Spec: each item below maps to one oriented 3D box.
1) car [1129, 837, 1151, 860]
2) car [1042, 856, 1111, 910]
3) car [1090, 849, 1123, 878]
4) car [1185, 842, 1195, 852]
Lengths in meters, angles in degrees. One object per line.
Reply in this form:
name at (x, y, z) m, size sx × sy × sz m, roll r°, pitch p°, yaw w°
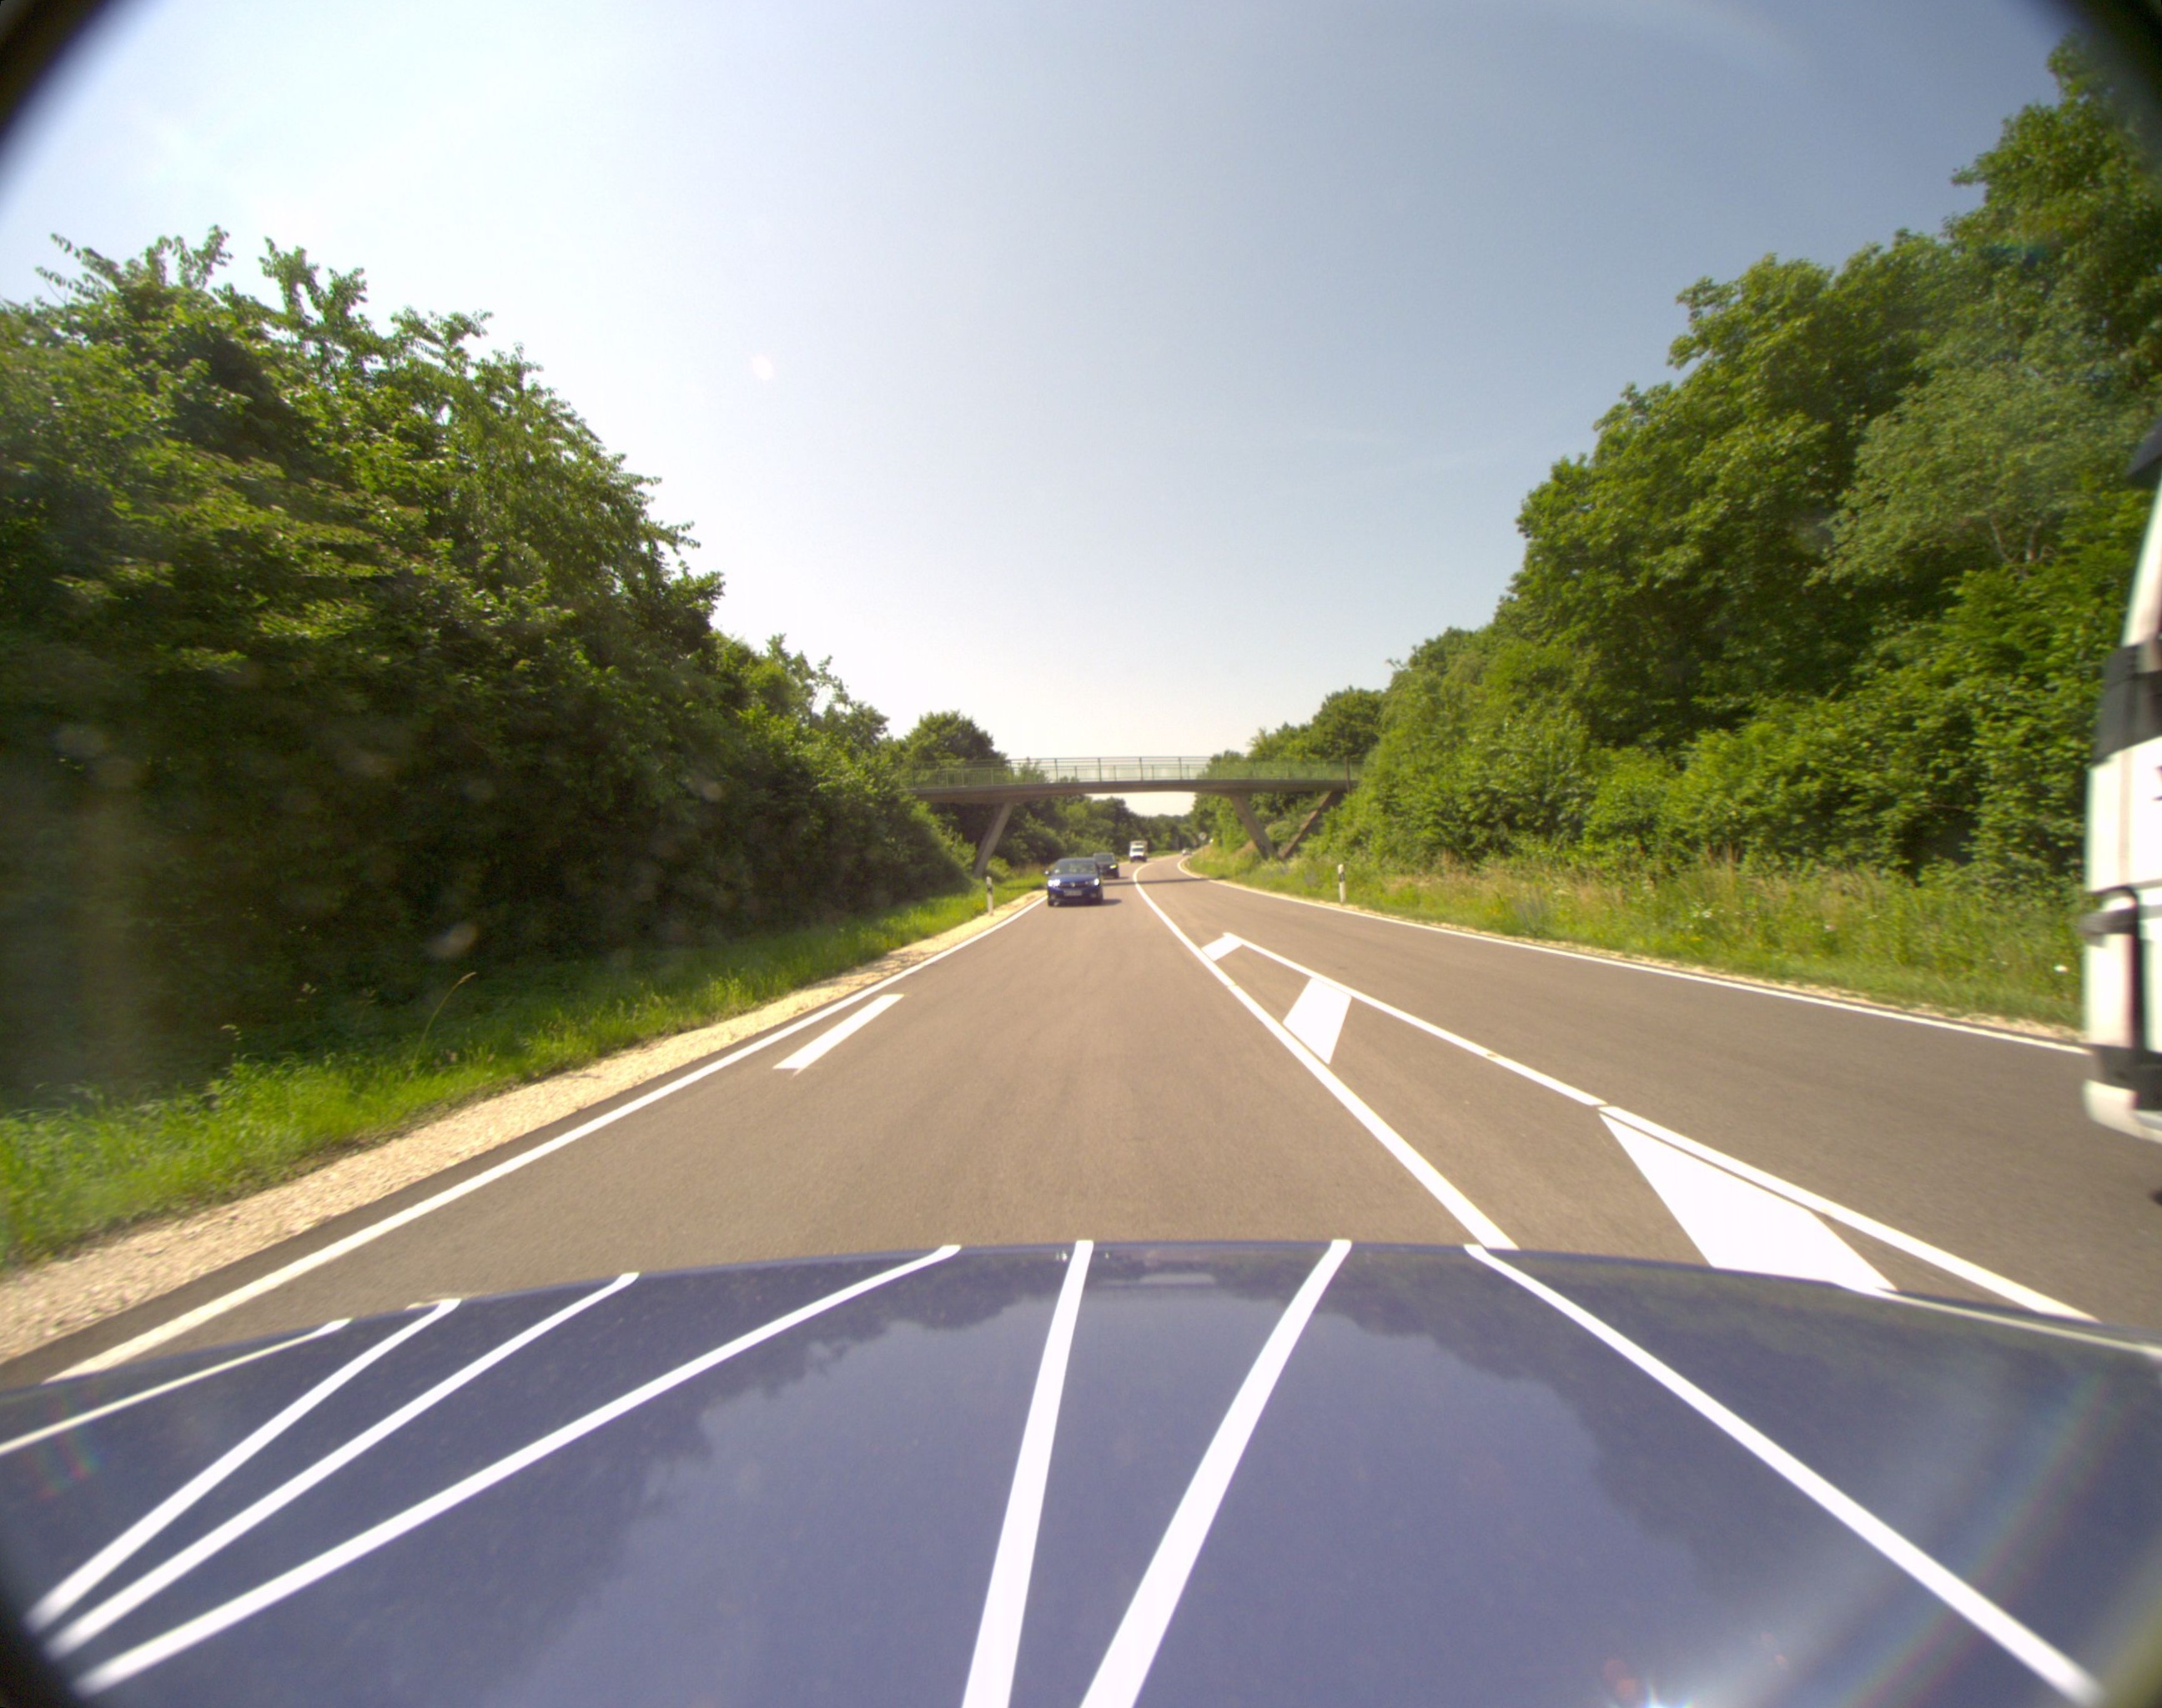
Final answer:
car at (8.312, -0.846, 106.179) m, size 2.590 × 3.047 × 6.884 m, roll -2°, pitch 1°, yaw 7°
car at (-0.068, 0.888, 25.392) m, size 1.807 × 1.532 × 3.946 m, roll -2°, pitch 1°, yaw 6°
car at (1.717, 0.564, 49.419) m, size 1.924 × 1.711 × 5.479 m, roll -2°, pitch 1°, yaw 3°
car at (23.312, -1.537, 162.417) m, size 1.974 × 2.020 × 5.401 m, roll -2°, pitch 1°, yaw 8°
